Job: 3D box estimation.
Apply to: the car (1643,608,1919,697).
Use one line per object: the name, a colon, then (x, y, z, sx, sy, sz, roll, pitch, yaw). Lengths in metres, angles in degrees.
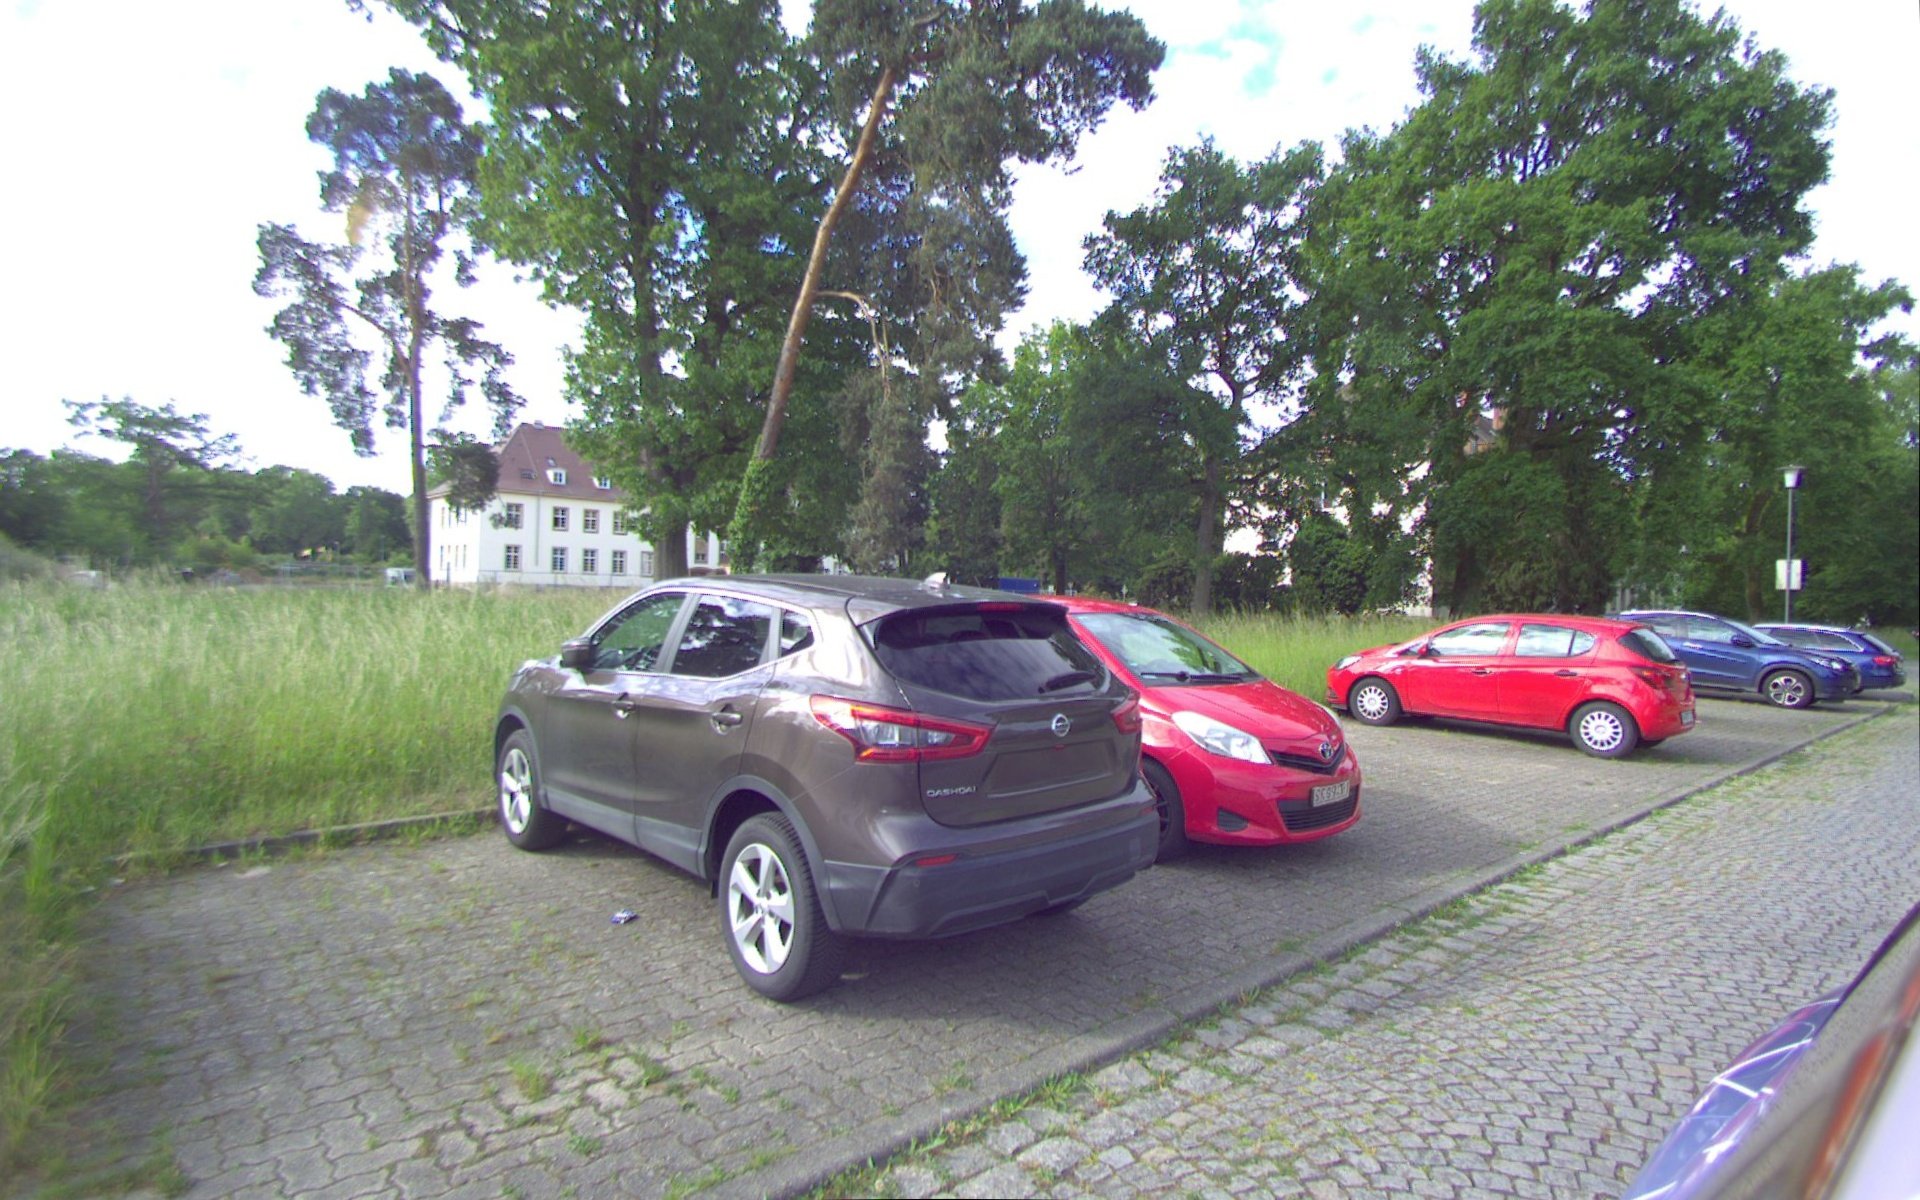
car: (17.741, 1.053, 21.891, 1.860, 1.483, 4.518, 2, 2, -38)

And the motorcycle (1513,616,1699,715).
motorcycle: (9.667, 0.941, 15.234, 2.265, 1.291, 0.596, 3, 1, 44)

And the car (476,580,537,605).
car: (-37.614, -0.625, 83.811, 5.811, 2.039, 2.450, 0, 0, 41)

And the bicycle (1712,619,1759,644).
bicycle: (38.361, 1.565, 50.105, 1.734, 1.101, 0.548, 2, 2, 27)

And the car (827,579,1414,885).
car: (0.887, 0.662, 7.285, 1.708, 1.537, 3.994, 2, 0, -41)

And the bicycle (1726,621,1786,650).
bicycle: (35.030, 1.553, 44.552, 1.999, 1.101, 0.474, 2, 2, 27)

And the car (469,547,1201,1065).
car: (-0.952, 0.609, 5.184, 1.732, 1.600, 3.955, 1, 0, -43)

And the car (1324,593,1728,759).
car: (6.604, 0.763, 12.114, 1.708, 1.524, 3.845, 2, 1, -42)

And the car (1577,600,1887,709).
car: (14.194, 0.915, 18.814, 1.862, 1.593, 4.271, 2, 1, -41)
